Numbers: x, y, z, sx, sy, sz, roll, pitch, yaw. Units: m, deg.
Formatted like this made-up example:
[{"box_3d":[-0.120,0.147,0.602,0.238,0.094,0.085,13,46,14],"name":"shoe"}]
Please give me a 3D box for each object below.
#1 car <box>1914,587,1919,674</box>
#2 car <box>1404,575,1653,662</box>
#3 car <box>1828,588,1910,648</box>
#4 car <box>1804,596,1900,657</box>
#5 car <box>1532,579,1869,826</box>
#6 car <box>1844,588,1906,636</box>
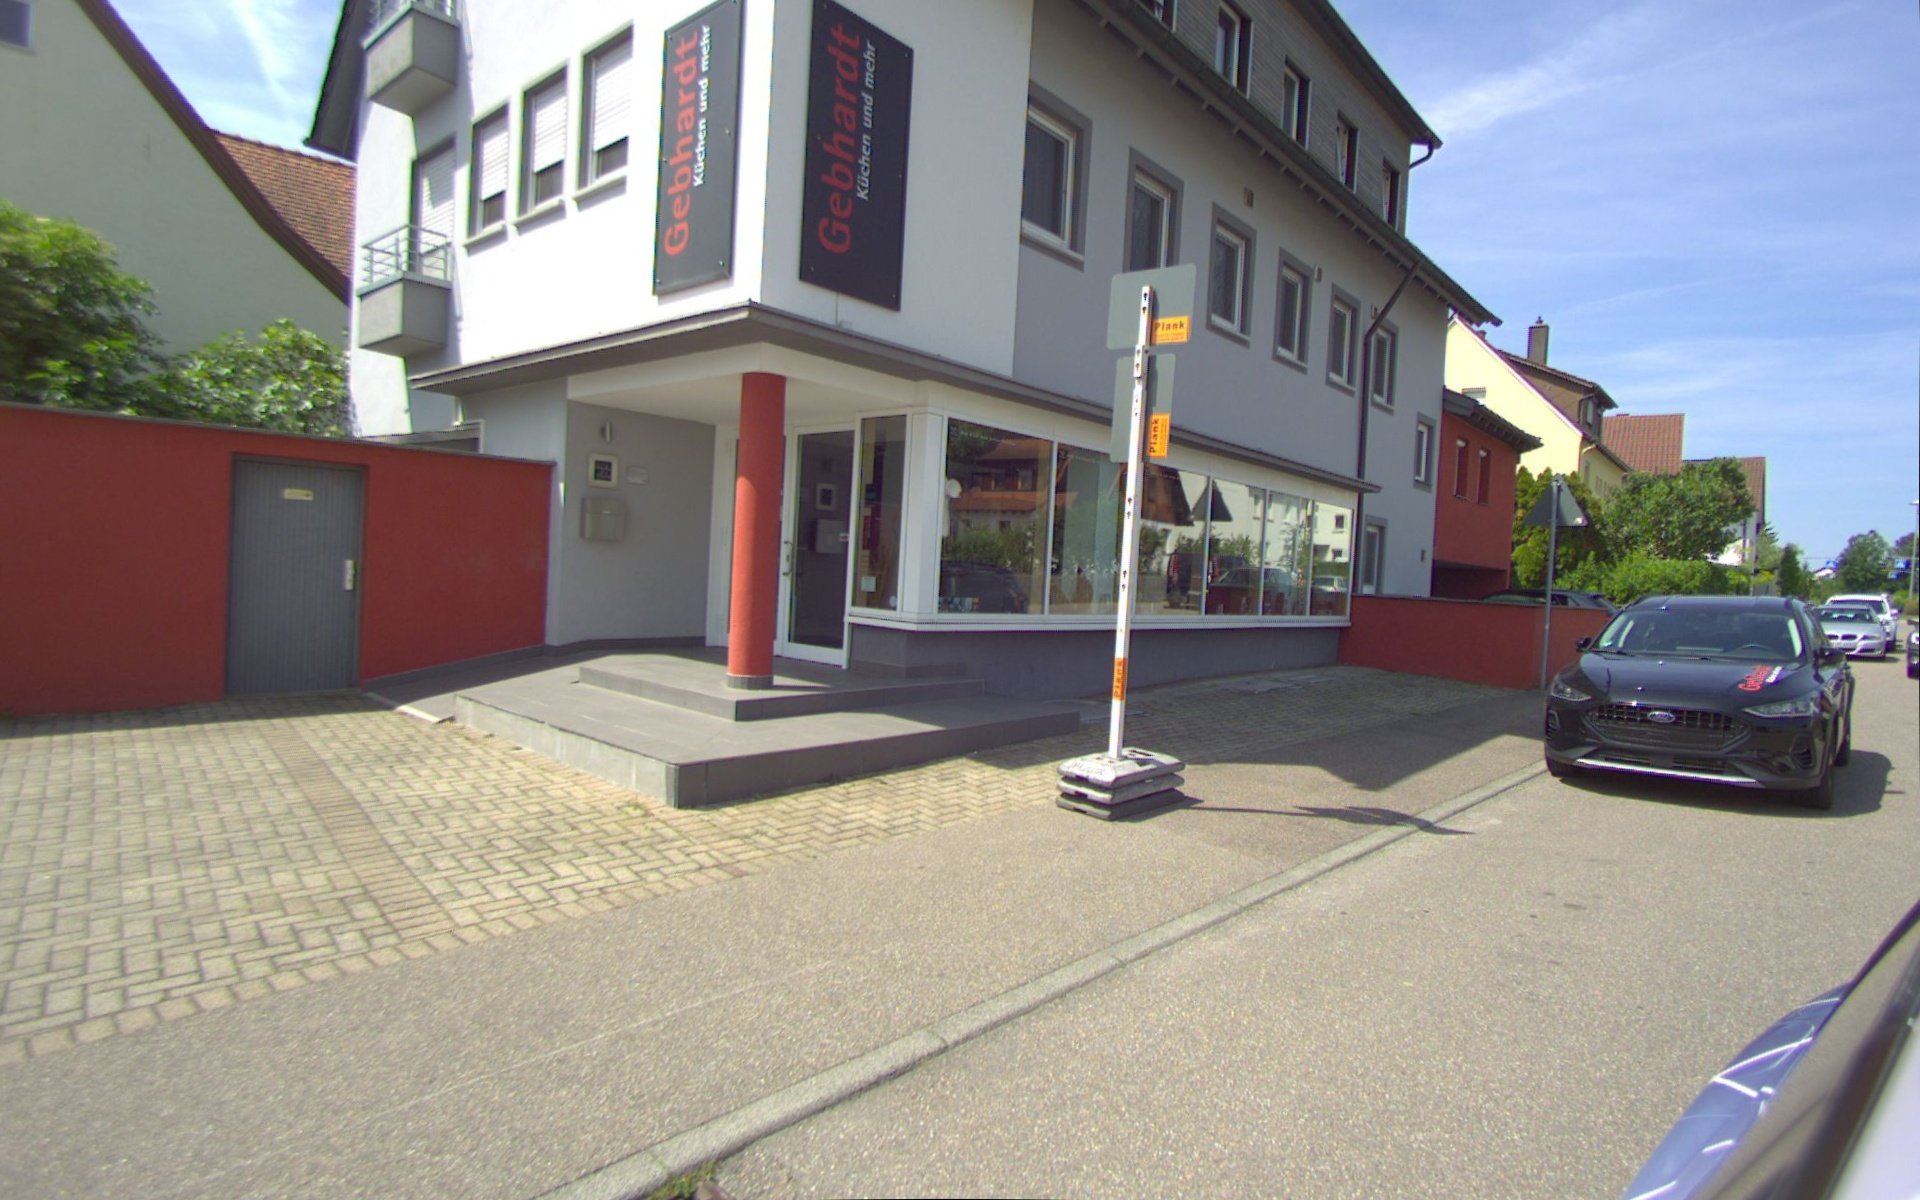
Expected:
[{"box_3d":[20.579,0.628,20.077,4.245,1.667,1.838,0,2,-39],"name":"car"},{"box_3d":[12.262,0.447,21.996,4.364,1.690,1.848,-4,-2,43],"name":"car"},{"box_3d":[27.950,0.496,31.087,1.736,1.682,4.268,2,1,43],"name":"car"},{"box_3d":[23.511,0.628,26.621,1.751,1.438,4.352,2,1,43],"name":"car"},{"box_3d":[6.488,0.641,8.652,1.762,1.546,4.336,2,2,44],"name":"car"},{"box_3d":[35.939,0.432,39.726,1.666,1.771,3.992,2,1,43],"name":"car"}]
